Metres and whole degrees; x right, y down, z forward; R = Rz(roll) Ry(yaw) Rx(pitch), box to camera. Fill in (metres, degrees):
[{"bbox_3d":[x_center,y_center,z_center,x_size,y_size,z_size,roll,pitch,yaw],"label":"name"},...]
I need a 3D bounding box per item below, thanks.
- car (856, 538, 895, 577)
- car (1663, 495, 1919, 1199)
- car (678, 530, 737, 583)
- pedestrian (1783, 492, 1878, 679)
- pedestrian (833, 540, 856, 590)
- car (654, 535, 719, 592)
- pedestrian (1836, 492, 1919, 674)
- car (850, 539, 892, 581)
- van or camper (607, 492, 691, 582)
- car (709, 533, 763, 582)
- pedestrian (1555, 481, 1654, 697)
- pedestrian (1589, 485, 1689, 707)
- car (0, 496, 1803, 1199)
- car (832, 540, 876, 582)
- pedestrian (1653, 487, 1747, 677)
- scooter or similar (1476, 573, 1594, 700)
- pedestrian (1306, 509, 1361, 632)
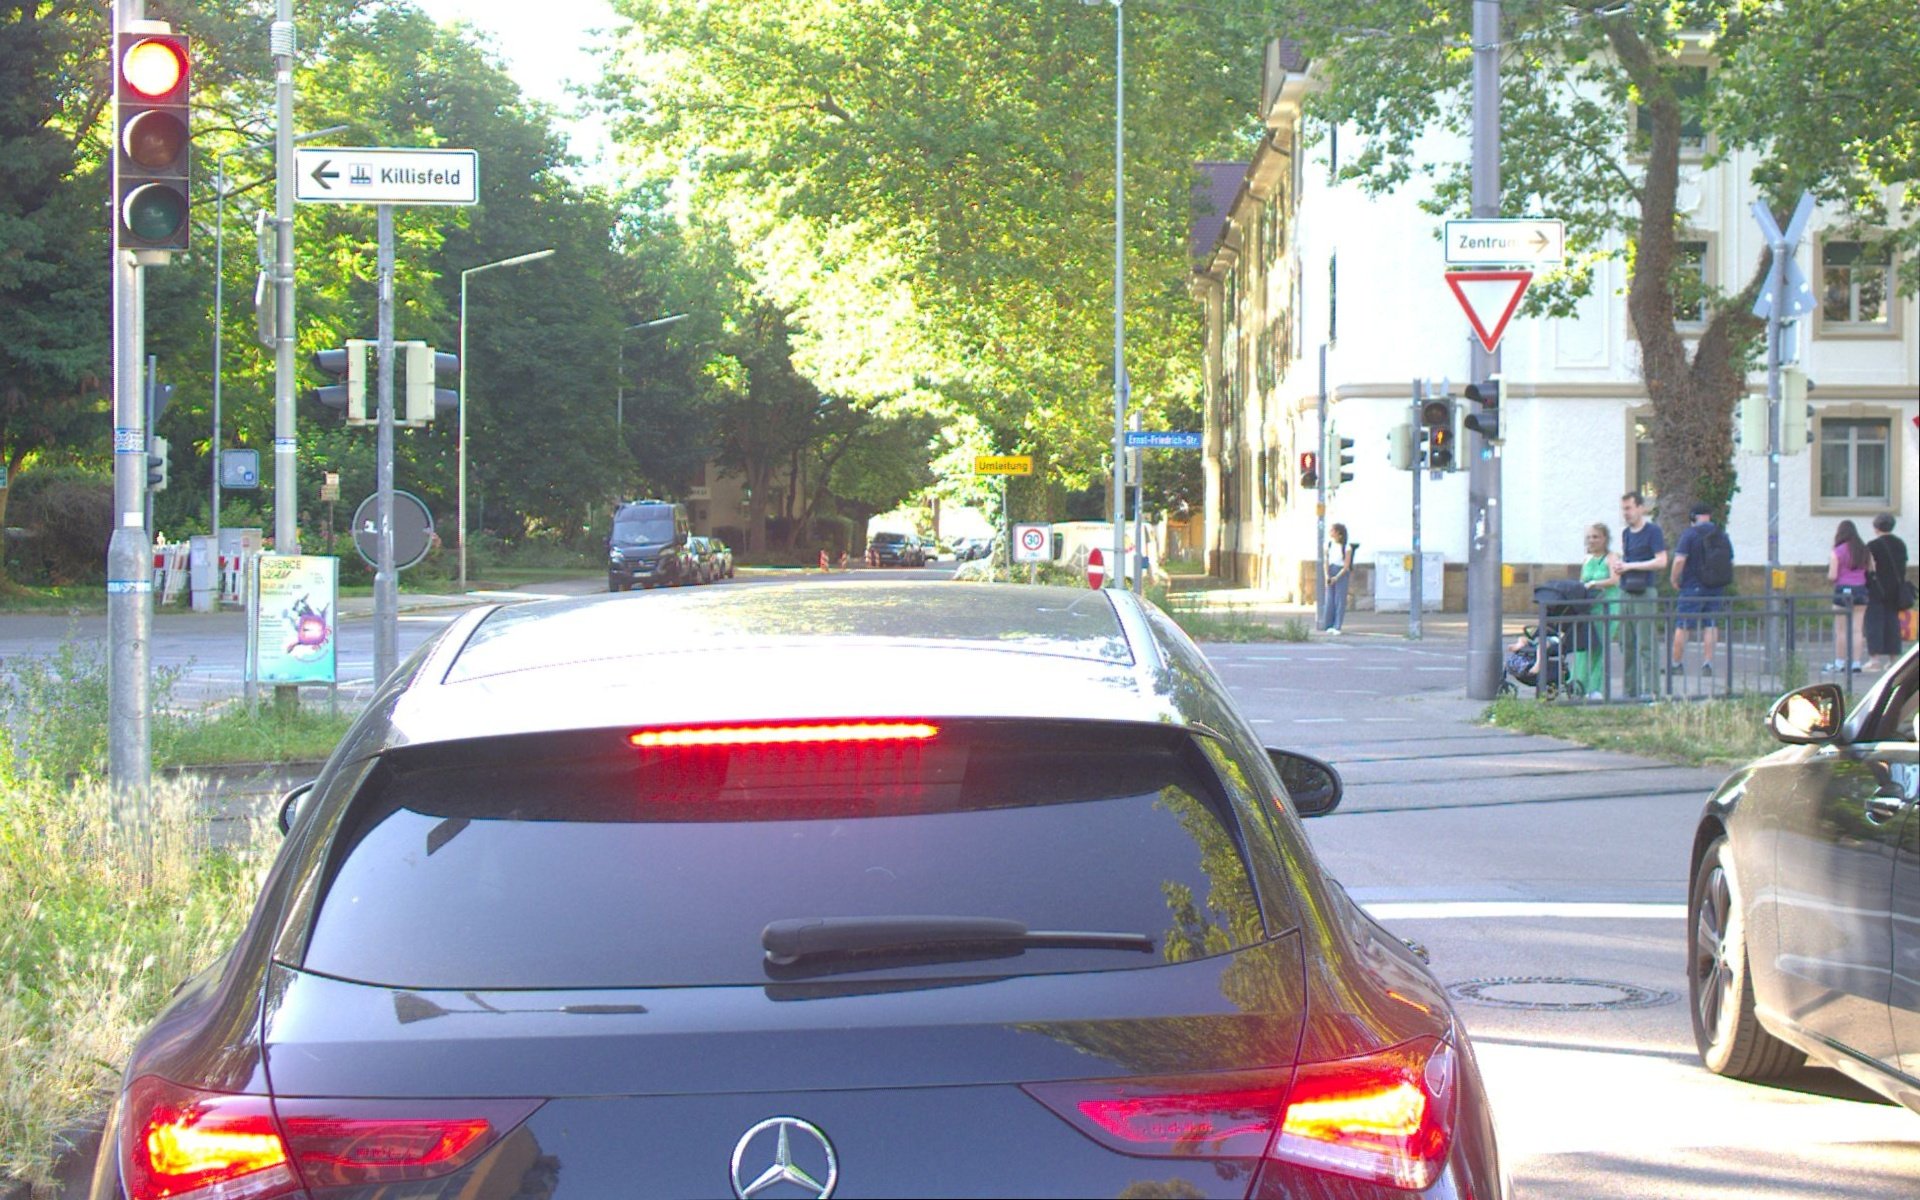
[{"bbox_3d":[-3.900,-1.971,158.468,1.733,1.759,4.019,1,1,-1],"label":"car"},{"bbox_3d":[2.878,0.582,7.289,1.889,1.485,4.382,1,3,1],"label":"car"},{"bbox_3d":[-8.617,-1.483,117.618,1.733,1.759,4.085,1,1,-1],"label":"car"},{"bbox_3d":[9.024,-0.152,35.672,0.705,1.911,0.839,1,0,-4],"label":"pedestrian"},{"bbox_3d":[-4.366,-1.325,130.029,0.705,1.911,0.839,1,0,-10],"label":"pedestrian"},{"bbox_3d":[-8.688,-1.154,109.484,1.733,1.759,4.342,1,1,-1],"label":"car"},{"bbox_3d":[9.834,-0.181,36.672,0.705,1.911,0.839,1,0,-4],"label":"pedestrian"},{"bbox_3d":[-3.878,-1.748,150.385,1.733,1.759,4.019,1,1,-1],"label":"car"},{"bbox_3d":[-8.993,-1.804,99.740,1.993,2.532,4.651,1,1,0],"label":"van or camper"},{"bbox_3d":[-8.227,-1.566,126.405,1.733,1.759,3.971,1,1,-1],"label":"car"},{"bbox_3d":[5.786,-0.097,30.893,0.682,1.911,0.707,1,0,-4],"label":"pedestrian"},{"bbox_3d":[5.944,-0.035,30.122,0.682,1.911,0.707,1,0,-2],"label":"pedestrian"},{"bbox_3d":[-0.116,0.620,5.357,1.889,1.445,4.001,1,3,1],"label":"car"},{"bbox_3d":[-4.481,-1.647,145.565,1.733,1.759,4.019,1,1,-1],"label":"car"},{"bbox_3d":[7.593,-0.186,35.304,0.705,1.911,0.839,1,0,-4],"label":"pedestrian"},{"bbox_3d":[5.087,0.316,30.464,0.828,1.101,0.809,1,0,-6],"label":"scooter or similar"},{"bbox_3d":[5.881,-0.466,54.184,0.705,1.911,0.839,1,0,-4],"label":"pedestrian"}]
